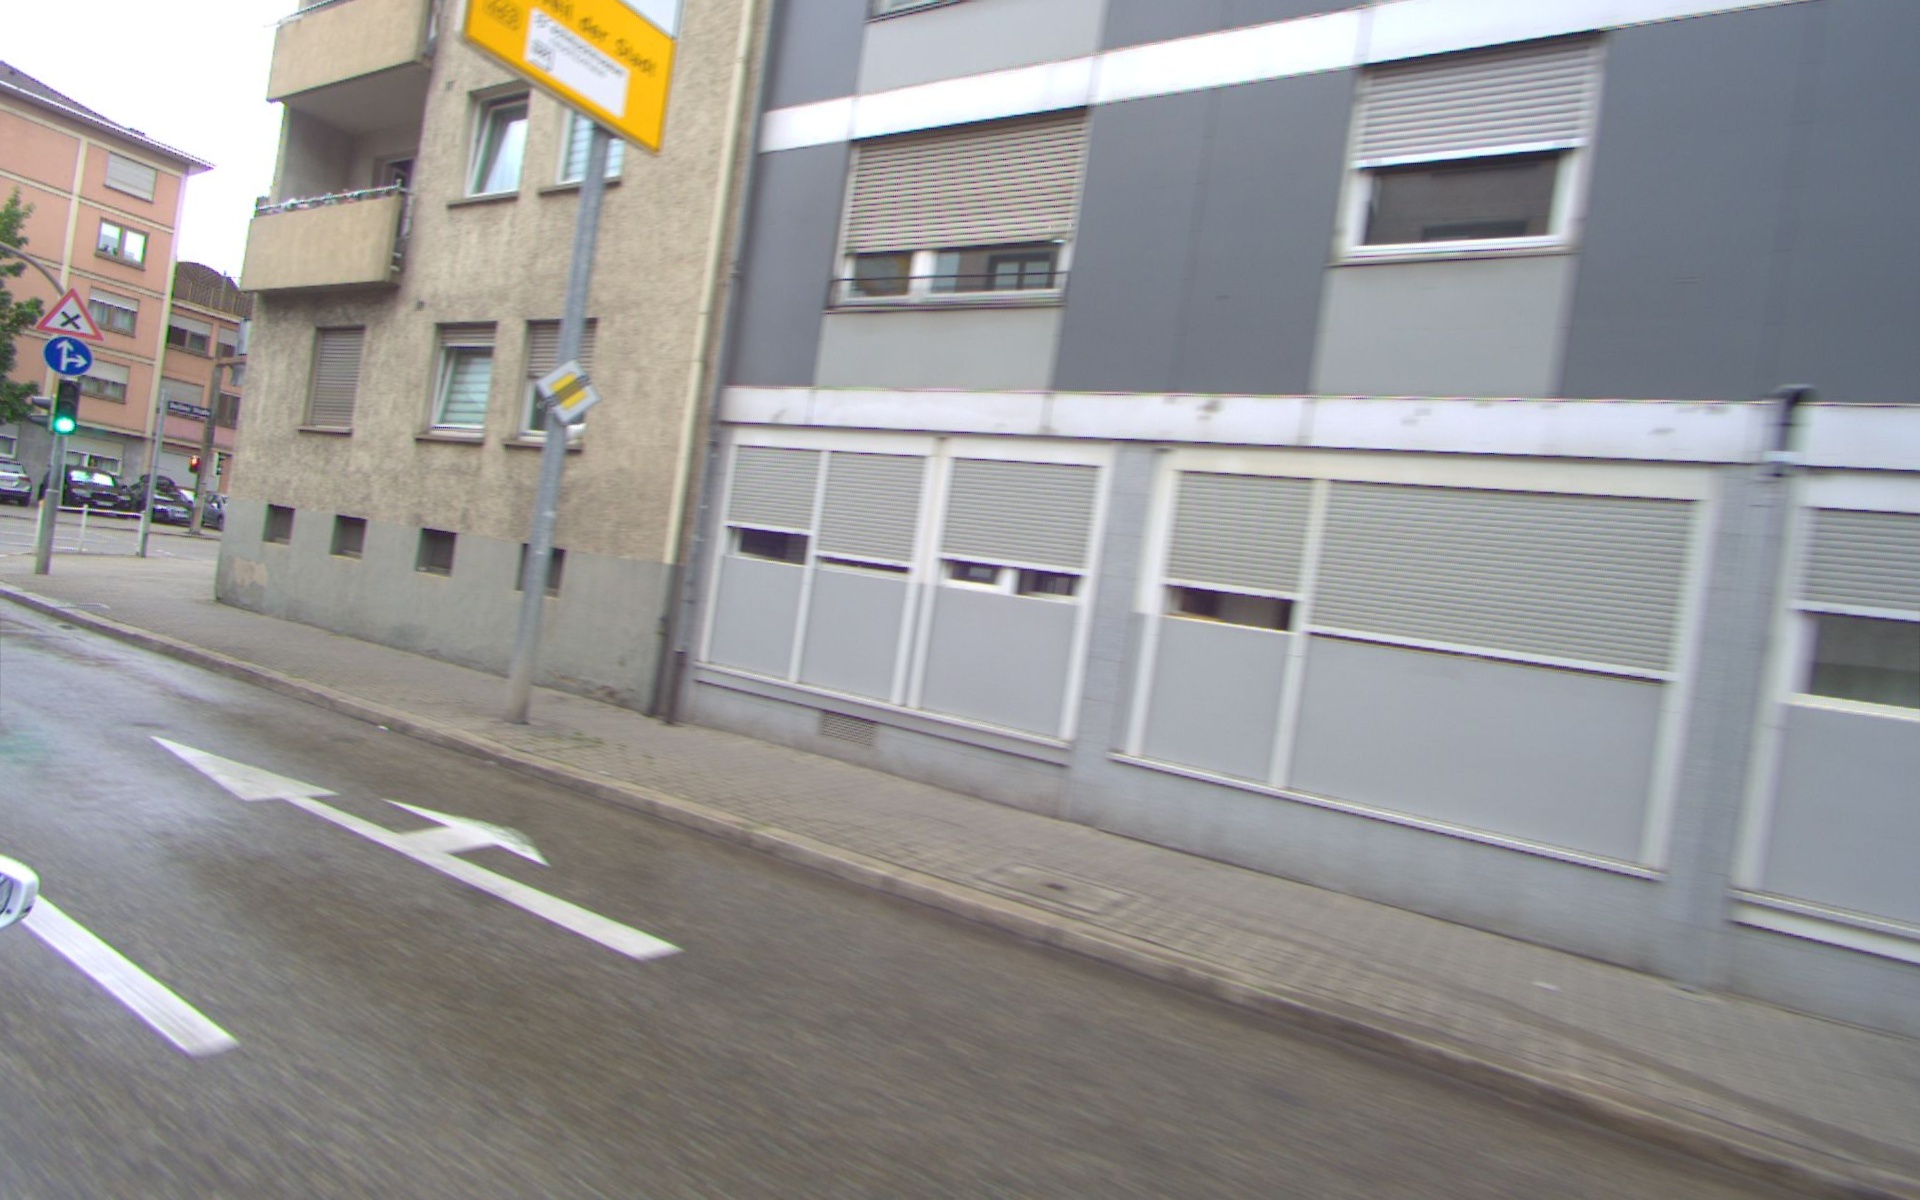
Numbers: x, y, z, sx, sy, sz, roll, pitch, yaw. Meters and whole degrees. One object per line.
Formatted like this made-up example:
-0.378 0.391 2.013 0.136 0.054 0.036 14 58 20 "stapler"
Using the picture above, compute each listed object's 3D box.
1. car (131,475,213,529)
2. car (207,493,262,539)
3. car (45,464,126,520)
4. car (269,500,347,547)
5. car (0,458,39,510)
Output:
-32.438 -3.983 41.520 1.781 1.717 3.972 9 -1 -28 "car"
-31.282 -3.575 43.331 1.662 1.600 3.960 9 -3 -37 "car"
-33.803 -4.189 38.853 3.947 1.741 1.982 8 1 44 "car"
-29.442 -3.451 45.381 3.949 1.725 1.990 6 -3 45 "car"
-35.620 -4.400 36.943 3.941 1.681 1.985 8 0 39 "car"
